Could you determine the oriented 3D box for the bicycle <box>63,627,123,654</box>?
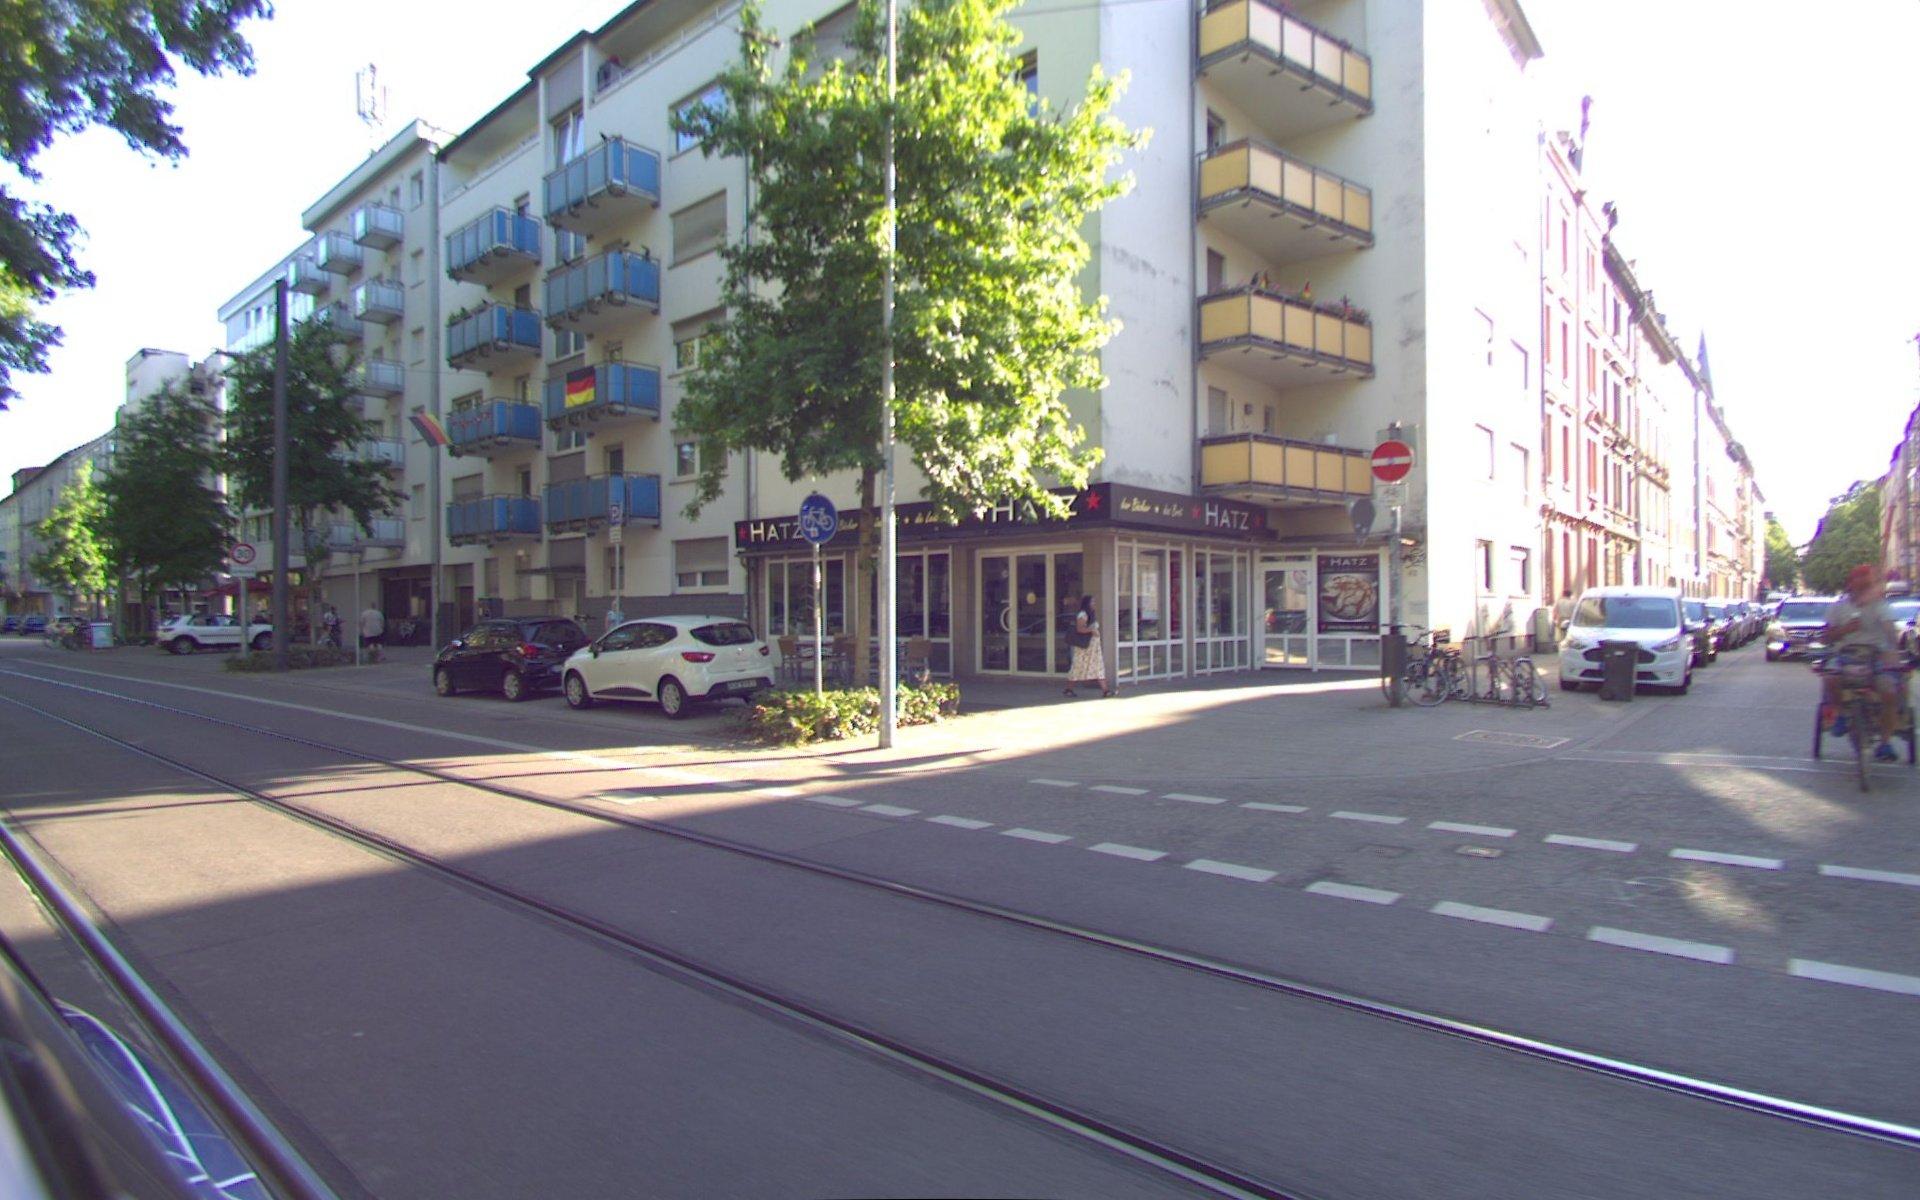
[{"bbox_3d":[-36.604,1.696,42.756,0.657,1.015,1.813,-1,0,36],"label":"bicycle"}]

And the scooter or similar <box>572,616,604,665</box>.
[{"bbox_3d":[-10.172,1.100,27.645,0.370,1.299,1.238,3,-3,-41],"label":"scooter or similar"}]

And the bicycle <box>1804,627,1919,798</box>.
[{"bbox_3d":[7.743,0.839,8.409,0.921,1.165,2.764,-1,0,44],"label":"bicycle"}]

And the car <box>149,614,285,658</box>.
[{"bbox_3d":[-28.476,1.333,38.858,1.852,1.486,3.968,0,0,43],"label":"car"}]

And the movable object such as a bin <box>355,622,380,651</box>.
[{"bbox_3d":[-22.358,1.367,38.181,0.574,1.063,0.665,-1,-2,43],"label":"movable object such as a bin"}]

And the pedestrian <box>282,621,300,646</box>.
[{"bbox_3d":[-32.215,1.595,48.726,0.623,1.207,0.556,-1,-2,40],"label":"pedestrian"}]

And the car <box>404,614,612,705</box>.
[{"bbox_3d":[-8.473,1.034,18.877,3.990,1.475,1.699,-1,0,34],"label":"car"}]

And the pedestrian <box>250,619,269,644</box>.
[{"bbox_3d":[-33.745,1.528,48.743,0.558,1.207,0.511,0,-1,12],"label":"pedestrian"}]

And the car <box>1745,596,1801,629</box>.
[{"bbox_3d":[39.861,0.608,49.586,2.028,1.511,3.905,-1,-1,40],"label":"car"}]

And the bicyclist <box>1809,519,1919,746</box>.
[{"bbox_3d":[7.422,0.244,8.078,0.908,1.717,0.862,-1,-1,44],"label":"bicyclist"}]

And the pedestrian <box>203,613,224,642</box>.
[{"bbox_3d":[-41.512,1.514,56.298,0.767,1.568,0.718,-1,-1,36],"label":"pedestrian"}]

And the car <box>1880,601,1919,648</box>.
[{"bbox_3d":[32.331,0.796,33.822,2.099,1.511,3.906,-1,-1,40],"label":"car"}]

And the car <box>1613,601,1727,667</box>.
[{"bbox_3d":[17.894,0.802,25.433,2.028,1.511,3.906,-1,-1,40],"label":"car"}]

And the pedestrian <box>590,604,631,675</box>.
[{"bbox_3d":[-8.521,0.956,24.704,0.748,1.704,0.657,-1,-1,40],"label":"pedestrian"}]

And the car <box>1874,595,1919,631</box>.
[{"bbox_3d":[45.553,0.615,48.784,2.028,1.695,3.906,-1,-1,40],"label":"car"}]

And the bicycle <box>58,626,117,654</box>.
[{"bbox_3d":[-37.257,1.702,43.242,0.657,1.072,1.813,-1,0,36],"label":"bicycle"}]

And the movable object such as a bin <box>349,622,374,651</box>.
[{"bbox_3d":[-22.834,1.383,38.607,0.622,1.063,0.670,-1,-2,43],"label":"movable object such as a bin"}]

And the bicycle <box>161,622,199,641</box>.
[{"bbox_3d":[-48.977,1.986,63.574,1.837,1.165,0.572,1,-1,-45],"label":"bicycle"}]

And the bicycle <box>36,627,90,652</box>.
[{"bbox_3d":[-39.715,1.724,44.804,0.657,1.015,1.676,-1,0,36],"label":"bicycle"}]

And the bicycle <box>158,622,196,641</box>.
[{"bbox_3d":[-48.543,1.960,62.722,1.759,1.165,0.574,0,-1,-18],"label":"bicycle"}]

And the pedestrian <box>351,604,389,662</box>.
[{"bbox_3d":[-17.763,0.983,30.460,0.794,1.704,0.756,-1,-1,40],"label":"pedestrian"}]

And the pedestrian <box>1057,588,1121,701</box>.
[{"bbox_3d":[2.022,0.683,15.800,0.748,1.704,0.657,-1,-1,40],"label":"pedestrian"}]

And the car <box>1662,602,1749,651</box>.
[{"bbox_3d":[24.469,0.838,33.165,2.028,1.511,3.905,-1,-1,40],"label":"car"}]

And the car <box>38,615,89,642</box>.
[{"bbox_3d":[-58.546,1.837,66.040,4.355,1.663,1.859,-1,1,40],"label":"car"}]

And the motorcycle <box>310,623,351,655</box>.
[{"bbox_3d":[-23.743,1.467,38.157,1.915,1.173,0.840,-1,-2,43],"label":"motorcycle"}]

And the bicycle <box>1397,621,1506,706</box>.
[{"bbox_3d":[7.173,0.915,14.735,1.918,1.165,0.573,2,-3,-35],"label":"bicycle"}]

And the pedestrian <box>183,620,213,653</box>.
[{"bbox_3d":[-30.942,1.484,41.099,0.744,1.307,0.708,-1,-1,27],"label":"pedestrian"}]

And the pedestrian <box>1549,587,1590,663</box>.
[{"bbox_3d":[15.013,0.606,24.911,0.765,1.814,0.824,-1,-1,37],"label":"pedestrian"}]

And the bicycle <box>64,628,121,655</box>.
[{"bbox_3d":[-35.733,1.691,41.696,0.657,1.015,1.676,-1,0,36],"label":"bicycle"}]

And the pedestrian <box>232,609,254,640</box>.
[{"bbox_3d":[-39.417,1.358,55.661,0.747,1.672,0.760,-1,-1,33],"label":"pedestrian"}]

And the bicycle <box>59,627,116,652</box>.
[{"bbox_3d":[-38.192,1.707,44.312,0.657,1.015,1.813,-1,0,36],"label":"bicycle"}]

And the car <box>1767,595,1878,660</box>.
[{"bbox_3d":[22.107,0.672,26.029,2.028,1.511,3.906,-1,-1,40],"label":"car"}]

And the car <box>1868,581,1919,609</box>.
[{"bbox_3d":[53.516,-0.276,58.002,2.028,1.511,3.906,-1,-1,40],"label":"car"}]

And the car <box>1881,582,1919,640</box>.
[{"bbox_3d":[37.132,0.422,39.128,2.028,2.151,3.906,-1,-1,40],"label":"car"}]

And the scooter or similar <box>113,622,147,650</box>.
[{"bbox_3d":[-36.965,1.613,45.083,0.498,1.185,1.069,-1,0,39],"label":"scooter or similar"}]

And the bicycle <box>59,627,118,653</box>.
[{"bbox_3d":[-37.457,1.703,43.501,0.657,1.015,1.813,-1,0,36],"label":"bicycle"}]

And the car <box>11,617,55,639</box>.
[{"bbox_3d":[-67.730,2.022,73.913,4.387,1.556,1.935,-1,-2,41],"label":"car"}]

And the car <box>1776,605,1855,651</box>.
[{"bbox_3d":[30.209,0.960,35.722,2.029,1.511,3.904,-1,-1,41],"label":"car"}]

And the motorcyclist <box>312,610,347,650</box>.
[{"bbox_3d":[-23.793,1.122,38.189,1.016,1.451,0.864,-1,-2,42],"label":"motorcyclist"}]

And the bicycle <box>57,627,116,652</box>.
[{"bbox_3d":[-37.920,1.706,43.952,0.657,1.015,1.813,-1,0,36],"label":"bicycle"}]

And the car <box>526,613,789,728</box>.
[{"bbox_3d":[-4.853,1.002,15.946,4.370,1.475,1.698,-1,2,37],"label":"car"}]

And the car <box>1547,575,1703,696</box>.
[{"bbox_3d":[11.927,0.571,18.002,2.035,1.836,4.830,-1,-1,37],"label":"car"}]

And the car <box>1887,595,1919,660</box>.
[{"bbox_3d":[24.280,0.648,24.842,2.028,1.511,3.906,-1,-1,40],"label":"car"}]

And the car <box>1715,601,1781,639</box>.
[{"bbox_3d":[32.832,0.814,42.129,2.028,1.511,3.905,-1,-1,40],"label":"car"}]

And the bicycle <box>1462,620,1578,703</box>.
[{"bbox_3d":[8.279,0.904,14.936,1.917,1.165,0.574,2,-2,-29],"label":"bicycle"}]

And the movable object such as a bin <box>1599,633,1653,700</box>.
[{"bbox_3d":[10.062,0.994,15.309,0.638,0.980,0.589,-1,-1,30],"label":"movable object such as a bin"}]

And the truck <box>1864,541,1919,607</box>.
[{"bbox_3d":[41.540,-1.087,44.608,2.168,2.744,5.750,-1,-1,39],"label":"truck"}]

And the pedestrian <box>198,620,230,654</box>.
[{"bbox_3d":[-29.837,1.473,40.482,0.907,1.307,0.708,-1,-1,27],"label":"pedestrian"}]

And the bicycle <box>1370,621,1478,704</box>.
[{"bbox_3d":[6.931,0.913,15.073,1.918,1.165,0.573,2,-3,-35],"label":"bicycle"}]

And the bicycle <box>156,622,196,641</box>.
[{"bbox_3d":[-49.738,1.985,64.228,0.567,1.165,2.025,-1,-1,19],"label":"bicycle"}]

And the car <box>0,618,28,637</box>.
[{"bbox_3d":[-76.271,2.209,81.191,4.280,1.475,1.776,-1,-2,41],"label":"car"}]

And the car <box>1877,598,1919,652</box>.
[{"bbox_3d":[28.391,0.711,29.647,2.028,1.511,3.906,-1,-1,40],"label":"car"}]
